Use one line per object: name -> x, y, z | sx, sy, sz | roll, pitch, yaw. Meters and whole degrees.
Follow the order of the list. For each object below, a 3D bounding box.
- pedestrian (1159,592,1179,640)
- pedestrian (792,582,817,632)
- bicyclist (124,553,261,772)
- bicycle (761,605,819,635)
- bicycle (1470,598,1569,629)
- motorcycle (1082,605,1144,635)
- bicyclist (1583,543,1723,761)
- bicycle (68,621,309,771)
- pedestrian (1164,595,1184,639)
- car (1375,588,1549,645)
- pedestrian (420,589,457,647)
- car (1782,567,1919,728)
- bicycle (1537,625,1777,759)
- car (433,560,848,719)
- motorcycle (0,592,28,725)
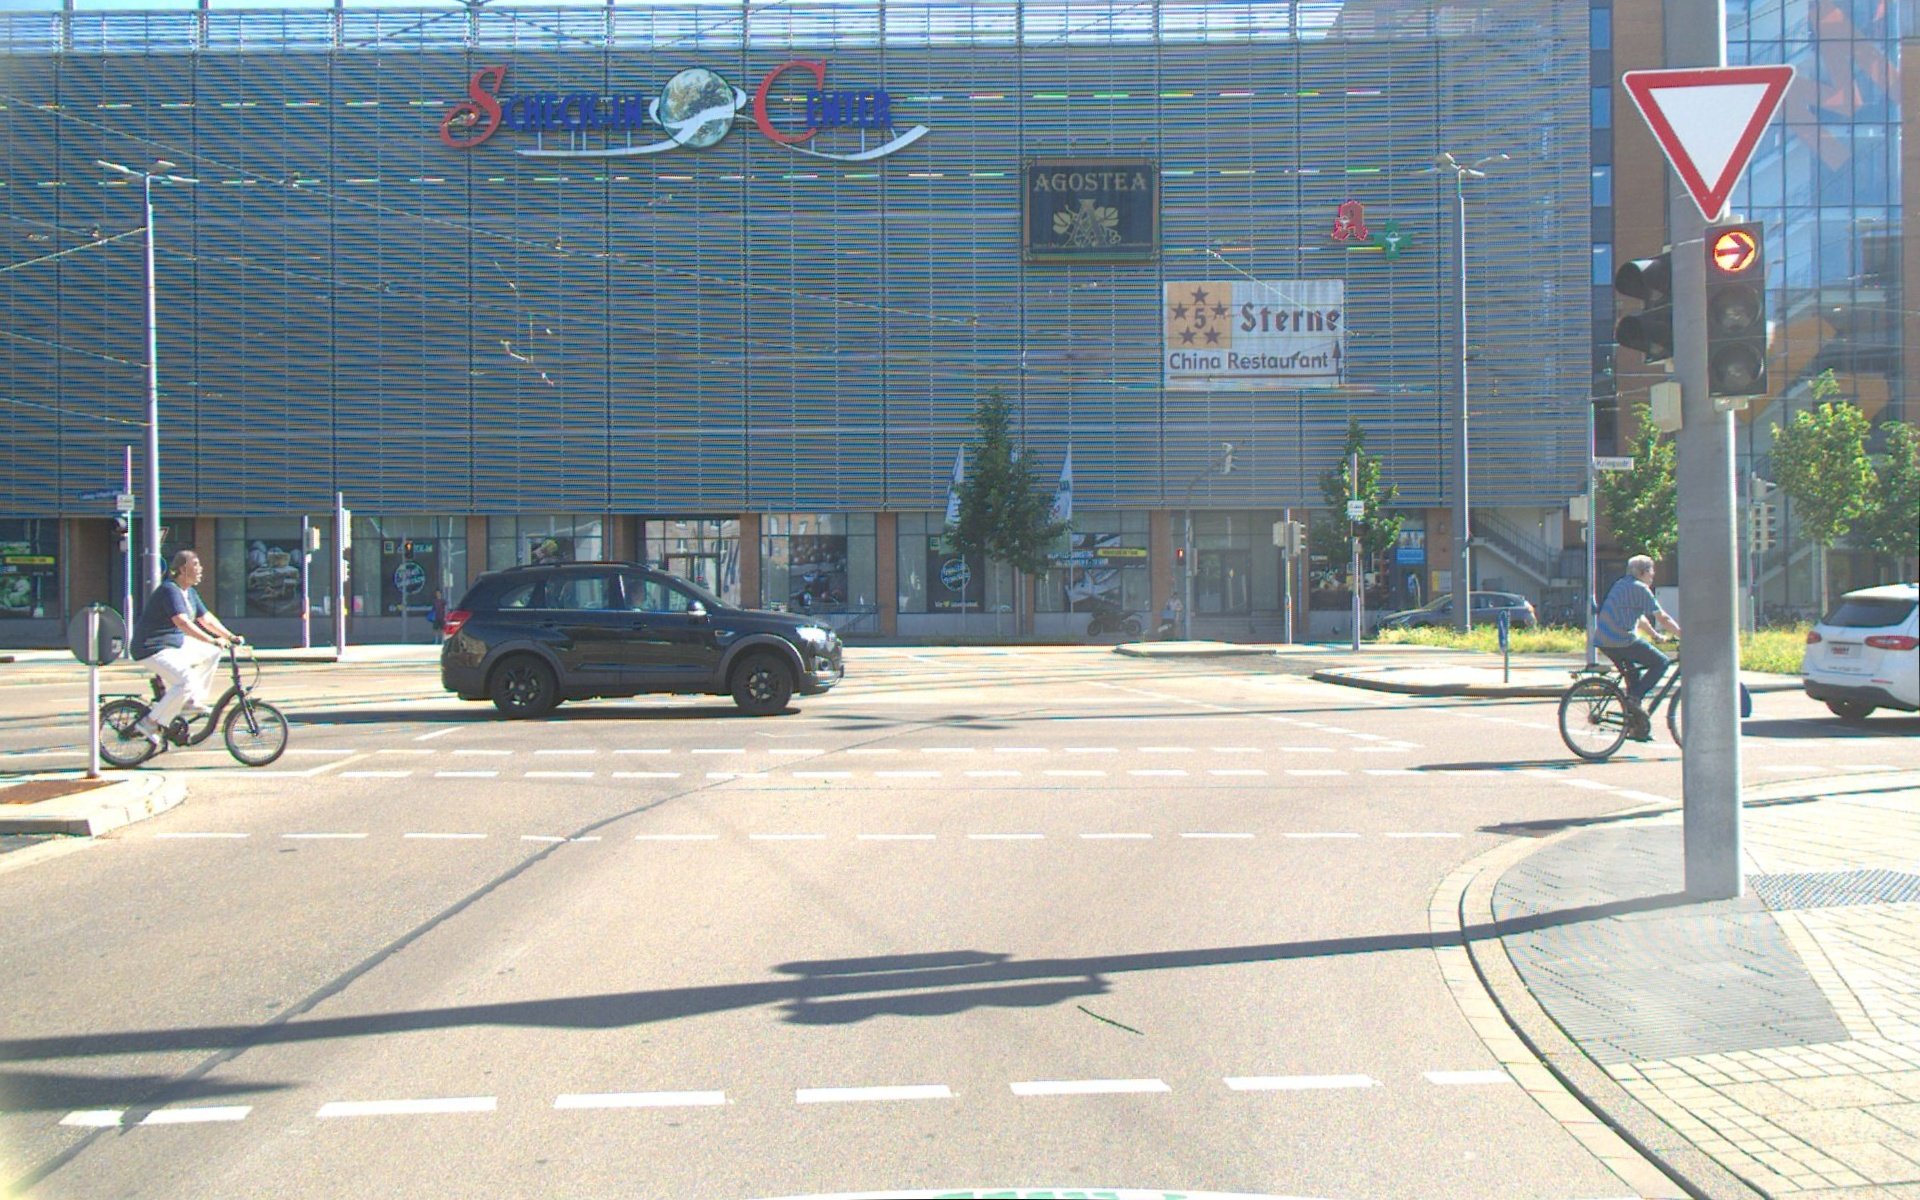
pedestrian -> 6.906, 0.535, 54.684 | 0.577, 1.561, 0.658 | 0, 0, -1
pedestrian -> -5.600, 0.241, 59.660 | 0.831, 1.794, 0.620 | 0, 0, -2
bicyclist -> -6.042, 0.478, 13.048 | 0.767, 1.677, 0.690 | 0, 0, -3
bicycle -> -6.188, 0.723, 60.325 | 1.985, 1.078, 1.144 | 0, 0, -1
bicycle -> 20.777, 0.491, 61.471 | 3.289, 1.096, 1.117 | 1, 0, 5
motorcycle -> 5.619, 0.748, 60.936 | 2.157, 1.061, 1.061 | 0, 0, -1
bicyclist -> 6.208, 0.455, 14.866 | 0.883, 1.892, 0.854 | 0, 0, -1
bicycle -> -6.050, 0.739, 13.031 | 1.545, 1.126, 0.734 | 0, 0, -3
pedestrian -> 7.167, 0.570, 55.481 | 0.577, 1.488, 0.658 | 0, 0, -1
car -> 13.901, 0.446, 45.931 | 4.395, 1.521, 1.494 | 0, 0, -1
pedestrian -> -17.241, 0.579, 54.696 | 0.890, 1.901, 0.816 | -1, 0, 42
car -> 11.711, 0.461, 18.373 | 4.405, 1.663, 1.836 | 0, 1, -9
bicycle -> 6.230, 0.808, 14.858 | 1.791, 1.135, 0.853 | 1, 0, -1
car -> -3.607, 0.413, 19.305 | 4.545, 1.748, 1.837 | 0, 1, -6
motorcycle -> -11.632, 0.626, 18.016 | 2.394, 1.443, 0.914 | 1, 0, -3
